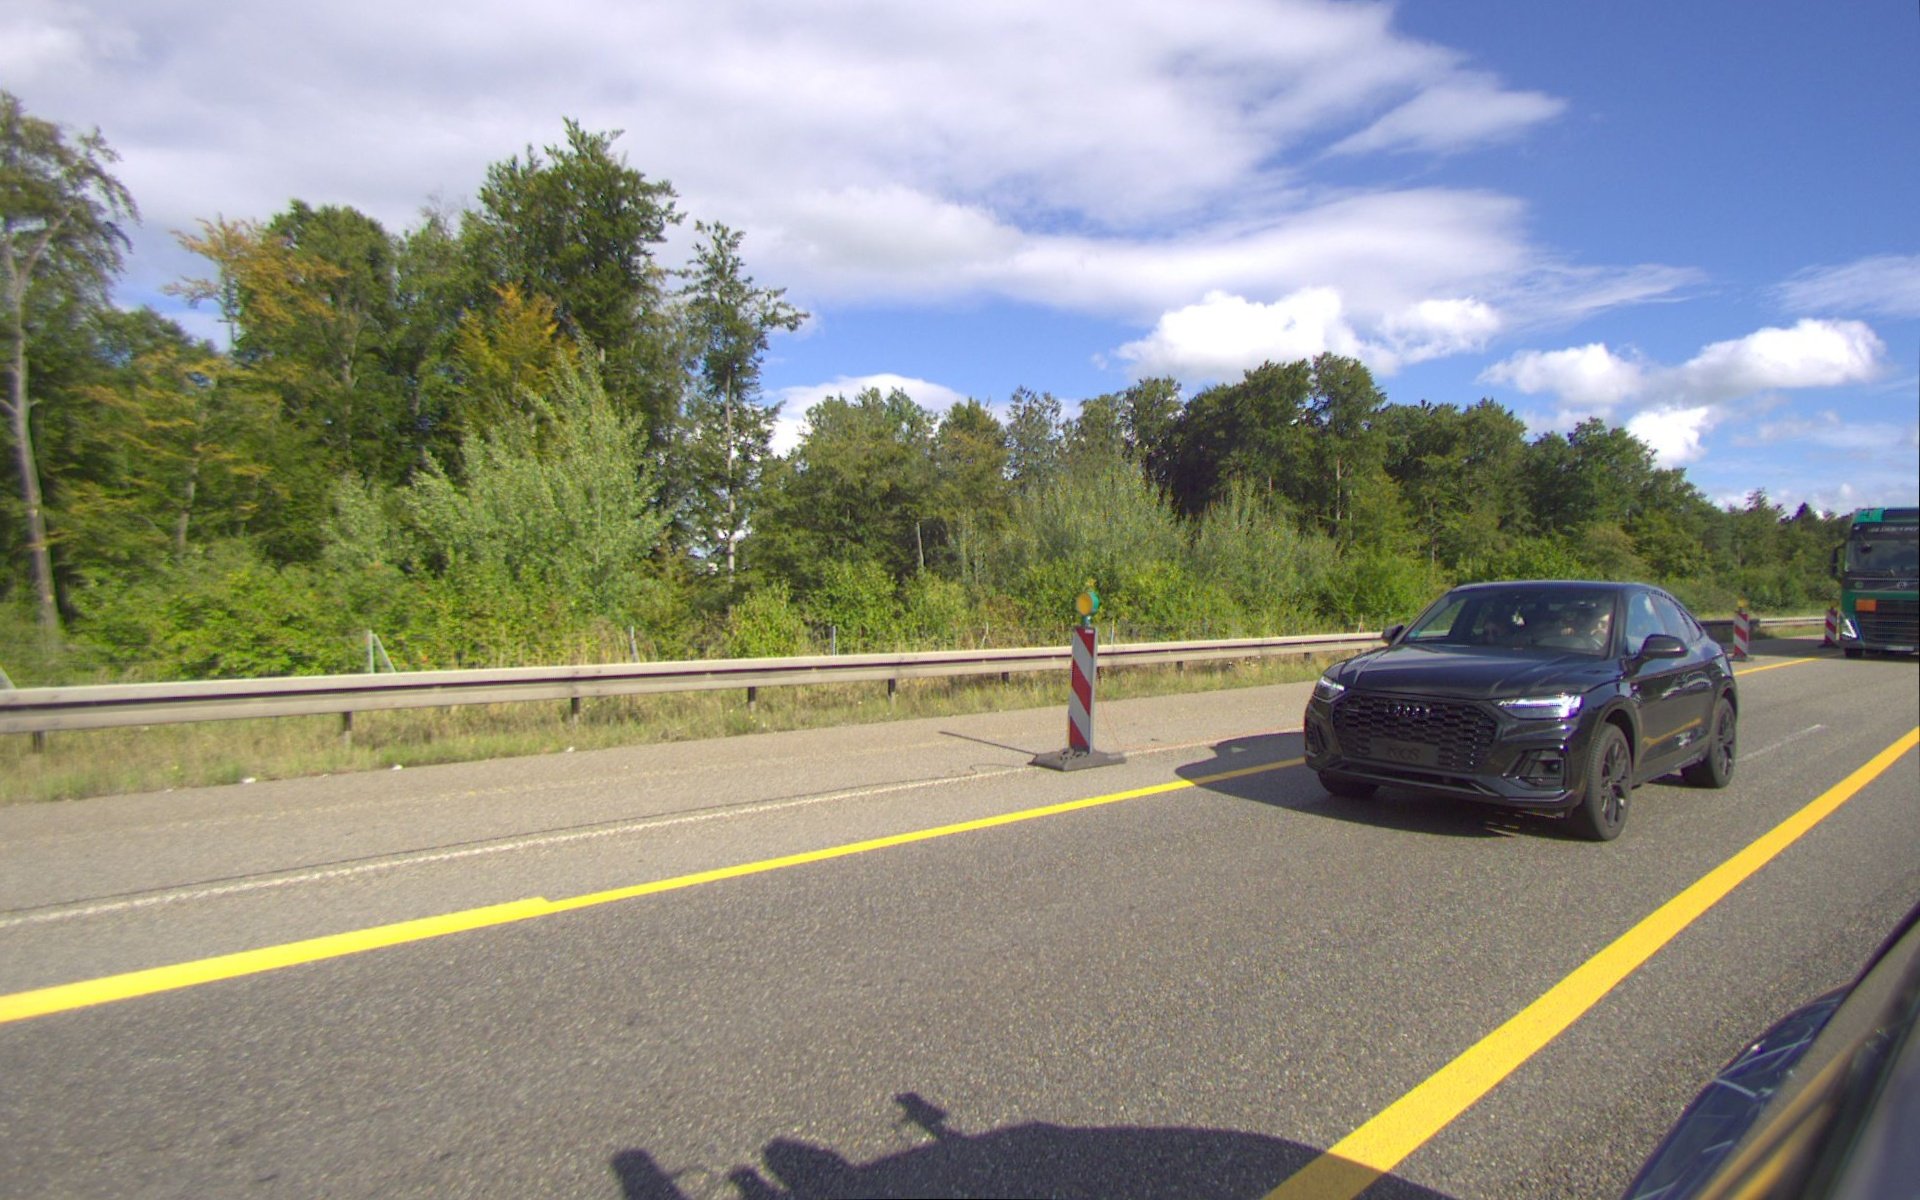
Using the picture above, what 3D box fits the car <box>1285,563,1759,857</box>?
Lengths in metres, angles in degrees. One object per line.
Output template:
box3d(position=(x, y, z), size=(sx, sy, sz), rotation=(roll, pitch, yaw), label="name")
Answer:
box3d(position=(4.403, 0.581, 7.635), size=(4.219, 1.622, 1.781), rotation=(-1, 0, -41), label="car")

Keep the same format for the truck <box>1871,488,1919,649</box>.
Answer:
box3d(position=(30.421, -0.792, 30.676), size=(13.960, 4.196, 2.468), rotation=(0, 0, -41), label="truck")

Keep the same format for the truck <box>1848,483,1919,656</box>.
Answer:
box3d(position=(25.550, -0.772, 26.508), size=(6.737, 4.151, 2.526), rotation=(-1, 0, -41), label="truck")
